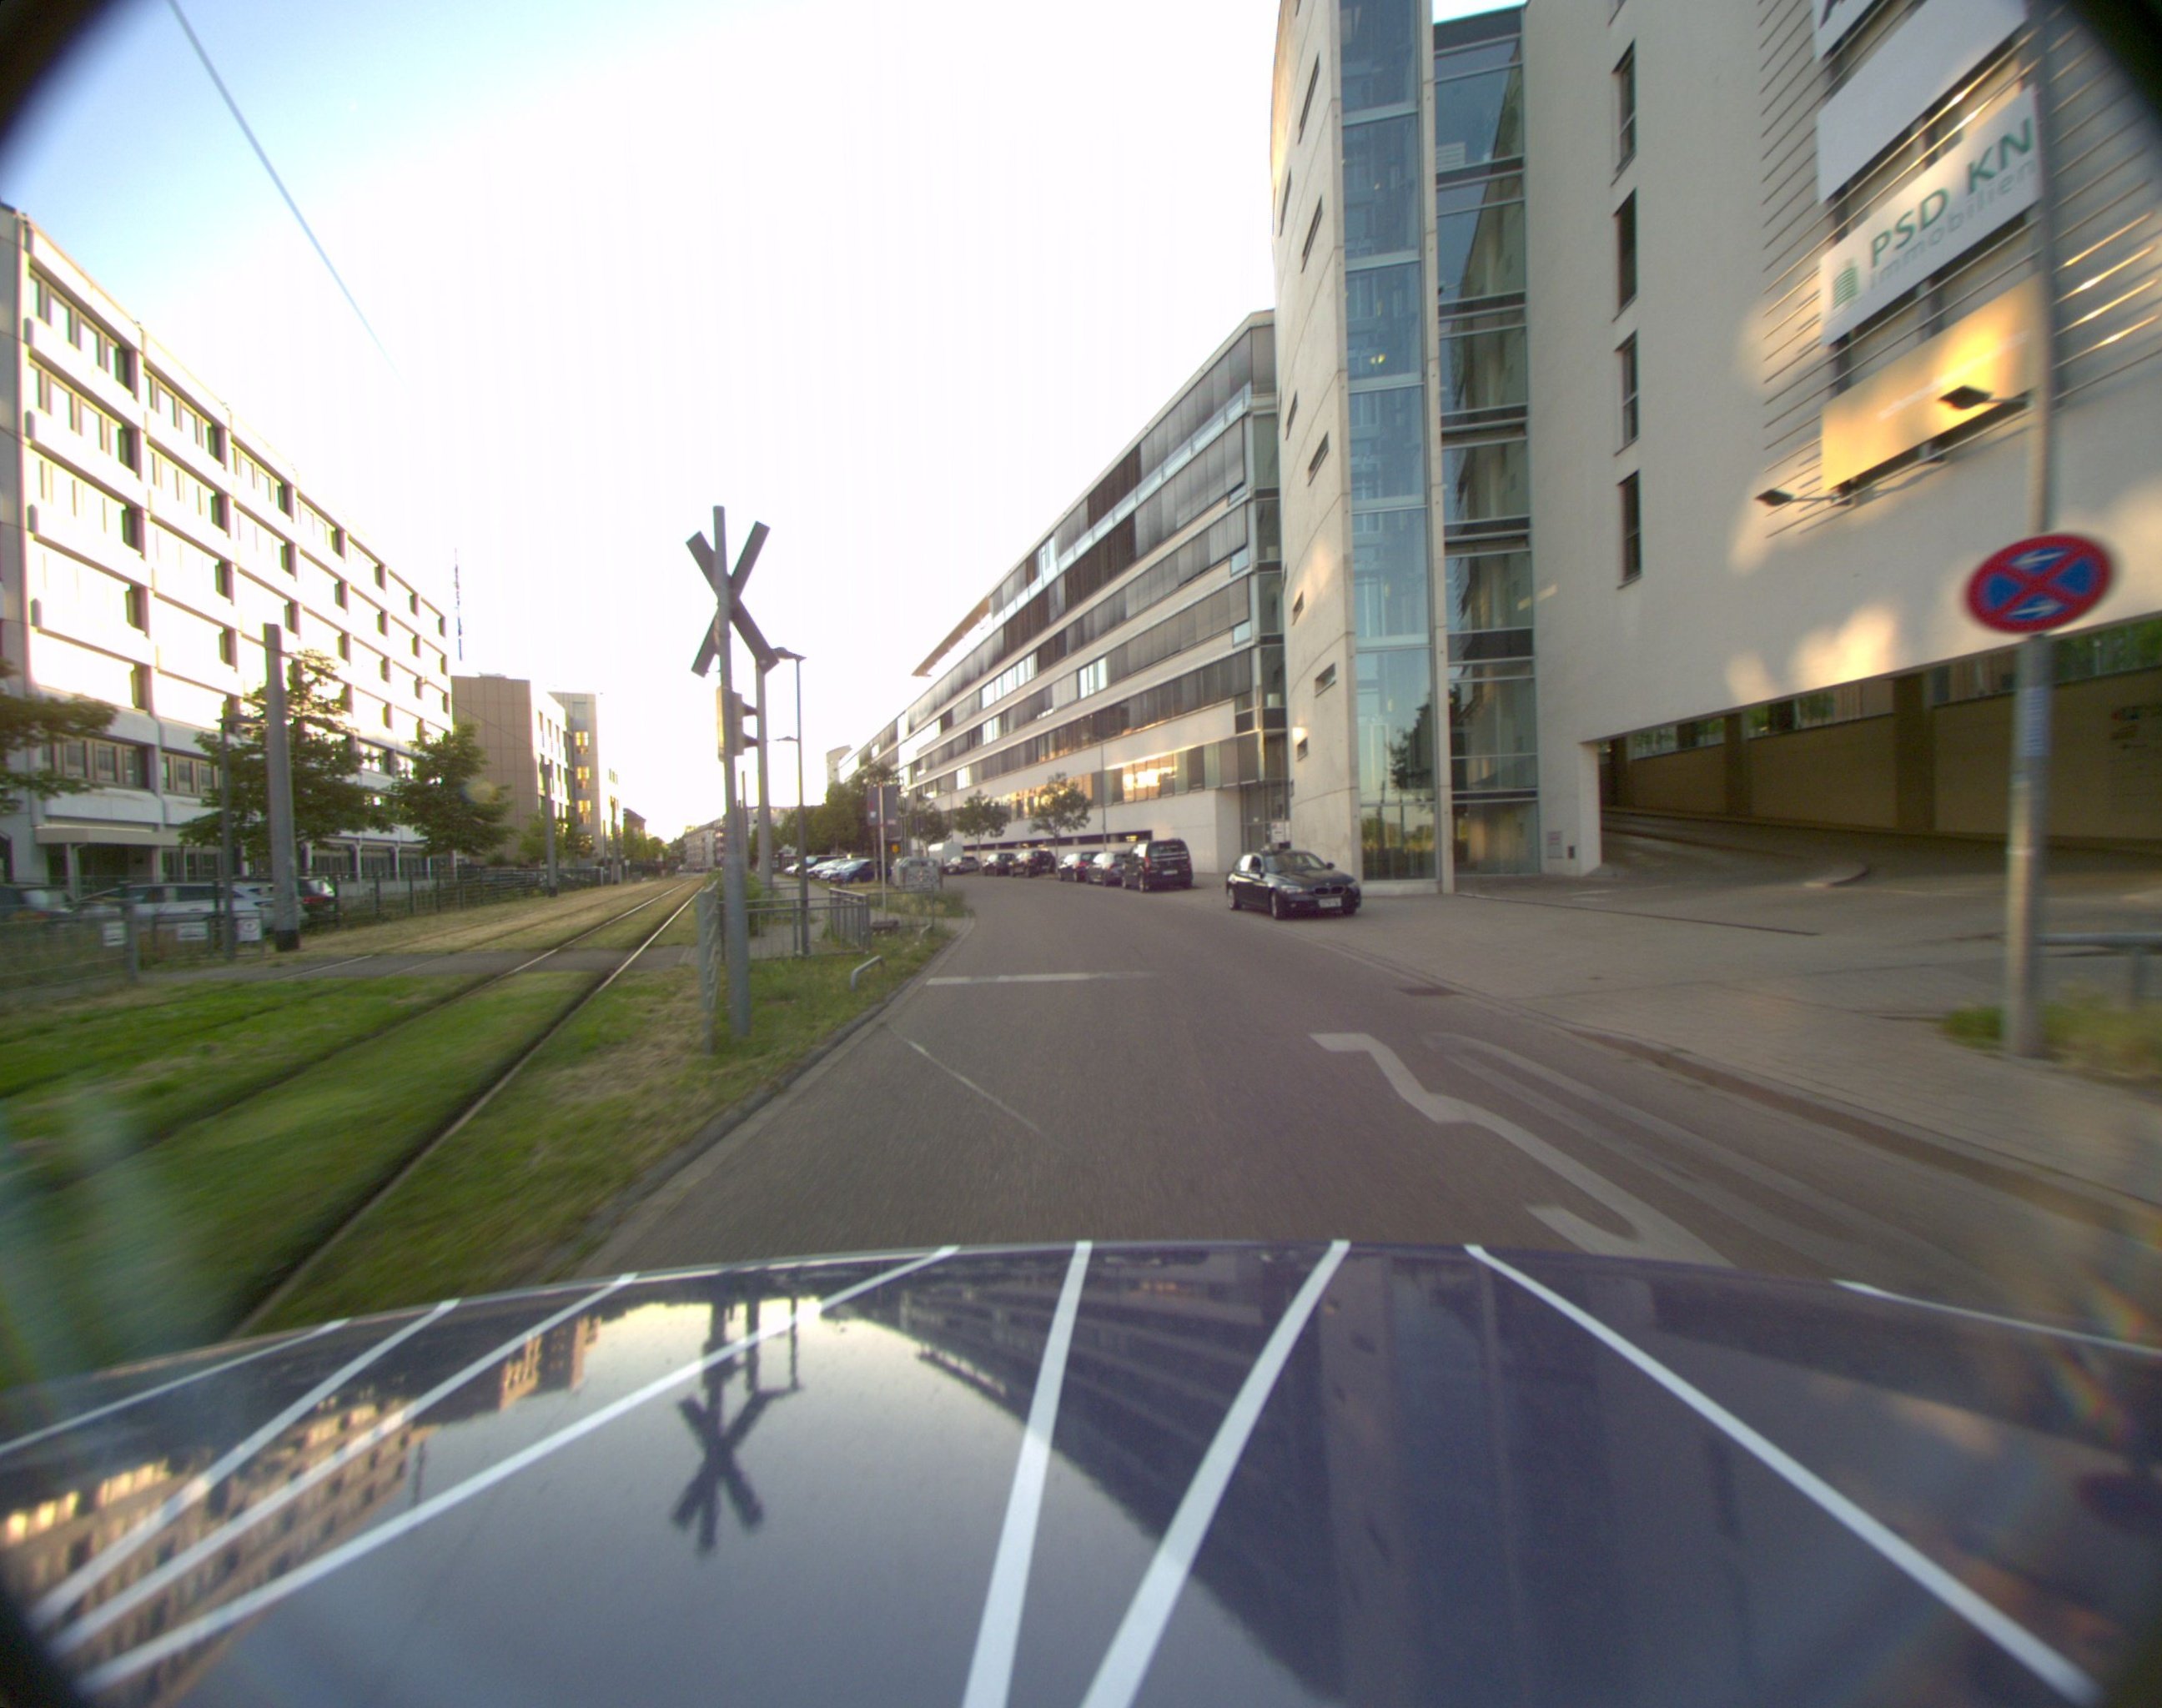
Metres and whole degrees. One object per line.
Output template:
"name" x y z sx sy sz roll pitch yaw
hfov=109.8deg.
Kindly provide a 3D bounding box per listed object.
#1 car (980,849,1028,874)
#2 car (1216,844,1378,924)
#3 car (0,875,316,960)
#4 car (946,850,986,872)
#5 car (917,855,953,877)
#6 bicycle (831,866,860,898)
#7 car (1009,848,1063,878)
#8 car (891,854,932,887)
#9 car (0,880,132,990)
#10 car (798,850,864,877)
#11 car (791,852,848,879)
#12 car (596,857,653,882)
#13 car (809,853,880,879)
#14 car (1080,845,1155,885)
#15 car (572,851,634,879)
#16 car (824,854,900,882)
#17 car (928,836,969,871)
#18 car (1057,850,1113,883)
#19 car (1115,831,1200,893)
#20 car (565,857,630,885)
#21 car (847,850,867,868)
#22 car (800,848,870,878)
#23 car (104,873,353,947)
"car" -5.259 0.508 51.530 1.799 1.542 3.991 -4 2 -27
"car" 4.622 0.573 16.969 1.858 1.434 4.224 -4 1 -8
"car" -21.842 1.426 18.278 4.410 1.584 1.814 -3 1 -23
"car" -9.014 0.525 59.519 1.800 1.692 3.991 -1 0 -29
"car" -11.275 0.880 58.439 1.862 1.489 4.666 -6 2 -20
"bicycle" -8.997 1.053 29.075 0.542 1.128 1.924 -2 1 -3
"car" -2.744 0.524 45.881 1.800 1.676 3.991 1 0 -27
"car" -8.389 0.770 37.443 1.633 1.503 3.412 -2 1 -18
"car" -22.574 1.671 14.987 4.279 2.002 1.996 -3 1 -23
"car" -16.745 0.624 51.051 1.713 1.634 4.007 -1 1 30
"car" -21.264 0.904 61.985 1.713 1.948 4.180 -1 1 30
"car" -39.768 1.304 66.254 4.005 2.002 1.996 -3 1 -26
"car" -14.235 0.697 45.944 1.713 1.368 4.006 -2 1 28
"car" 1.465 0.433 32.850 1.867 1.468 4.514 -4 1 -15
"car" -38.835 0.870 61.878 4.005 2.002 1.996 -3 1 -26
"car" -12.164 0.770 42.461 1.713 1.368 4.006 -2 1 28
"car" -11.380 -0.051 64.812 2.008 2.859 6.243 -1 0 -23
"car" 0.144 0.577 37.453 1.654 1.468 3.760 -2 1 -18
"car" 2.703 0.251 28.097 1.895 1.961 4.513 -4 1 -9
"car" -37.797 1.285 59.474 4.005 2.002 1.996 -3 1 -26
"car" -32.958 0.688 111.641 2.002 2.570 3.991 -2 1 -26
"car" -15.607 0.530 48.409 1.713 1.746 4.007 -1 1 30
"car" -22.777 1.434 20.537 4.004 1.584 1.814 -3 1 -23
